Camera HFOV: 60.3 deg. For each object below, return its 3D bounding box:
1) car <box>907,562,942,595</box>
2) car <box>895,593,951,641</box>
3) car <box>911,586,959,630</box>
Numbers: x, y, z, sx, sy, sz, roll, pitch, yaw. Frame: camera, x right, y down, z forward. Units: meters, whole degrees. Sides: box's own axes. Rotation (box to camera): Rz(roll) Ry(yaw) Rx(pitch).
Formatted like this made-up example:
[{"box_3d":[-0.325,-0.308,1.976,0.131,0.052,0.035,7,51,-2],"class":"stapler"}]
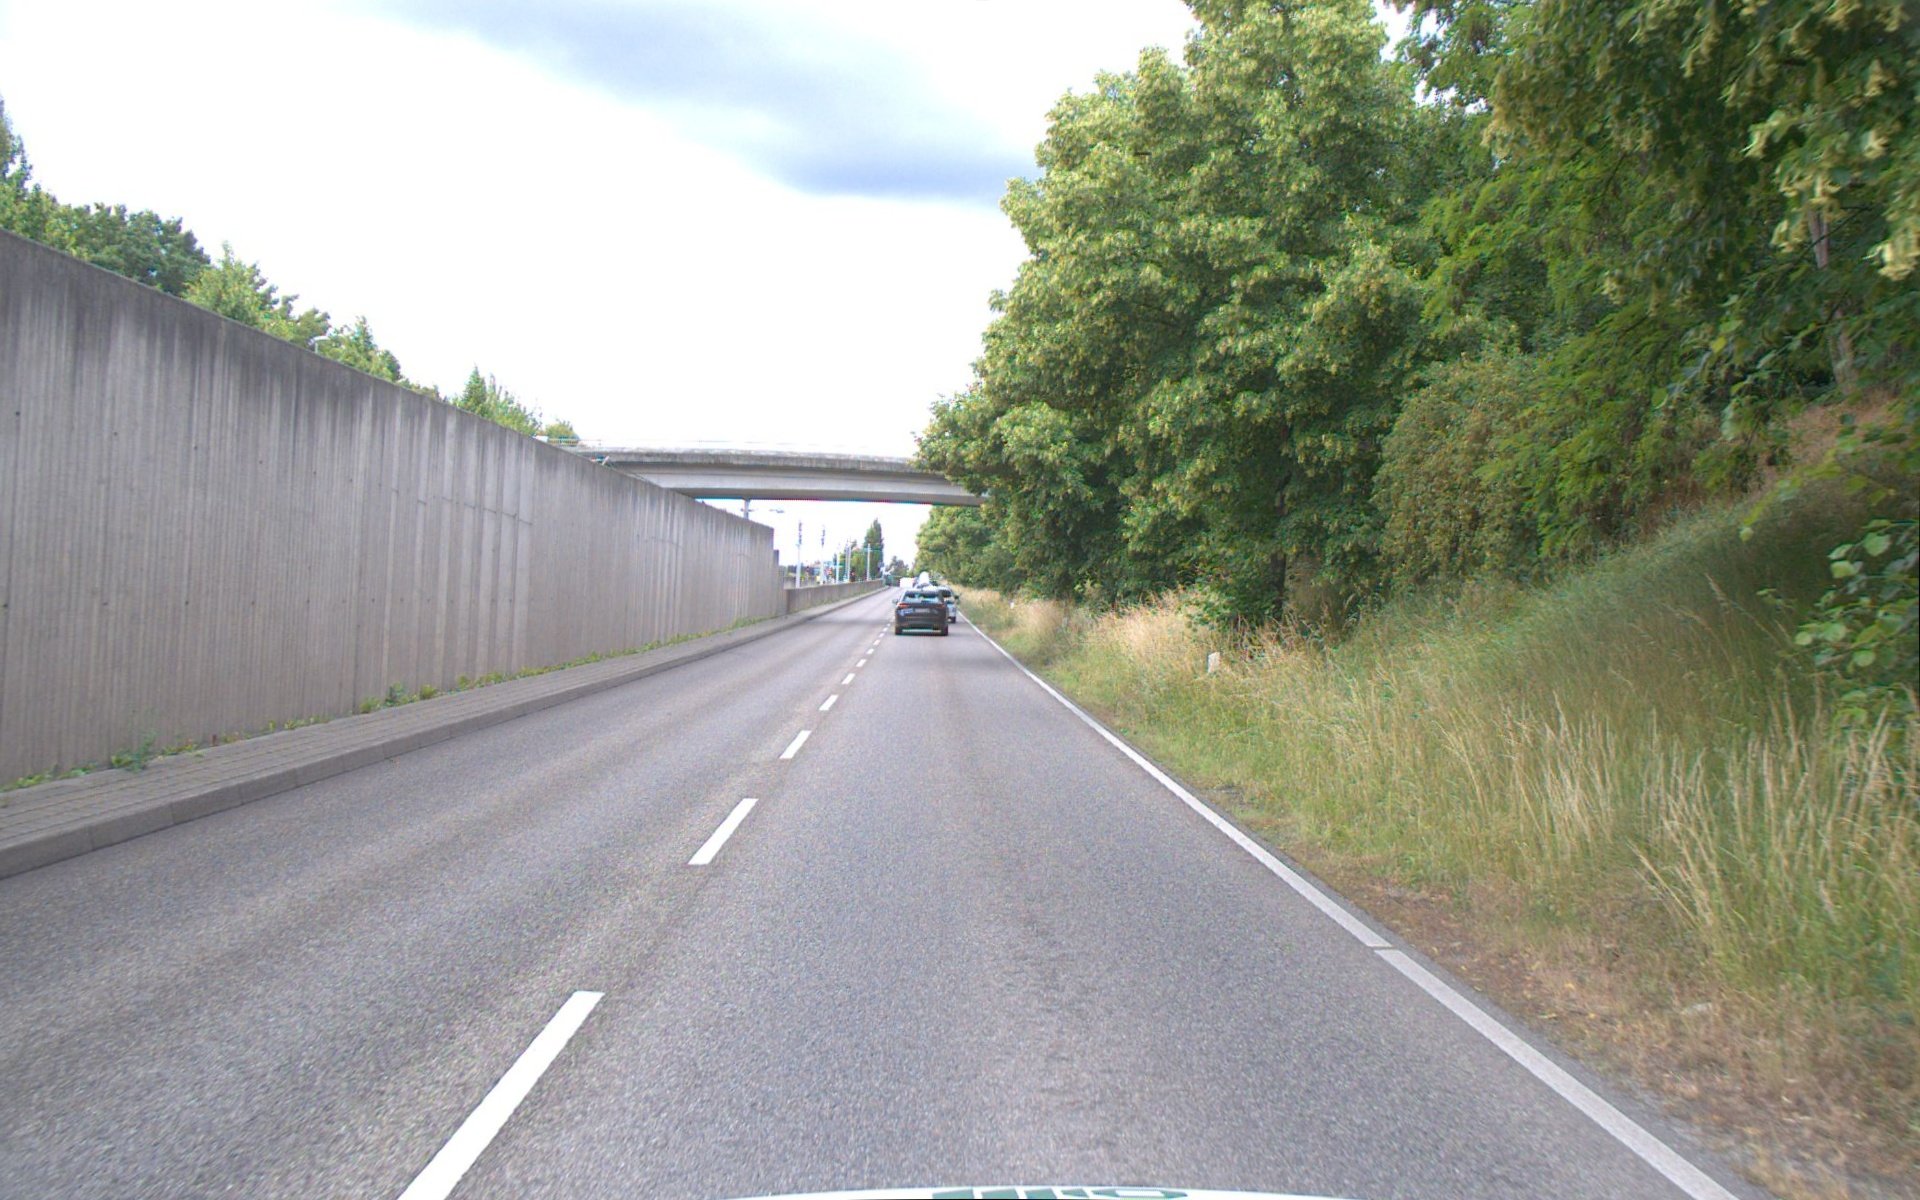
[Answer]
[{"box_3d":[-2.018,-1.234,94.767,1.953,1.771,3.999,1,0,-1],"class":"car"},{"box_3d":[-1.214,0.529,54.085,1.745,1.493,3.999,1,0,-1],"class":"car"},{"box_3d":[-1.065,0.335,70.232,1.953,1.783,3.999,1,0,-1],"class":"car"}]
